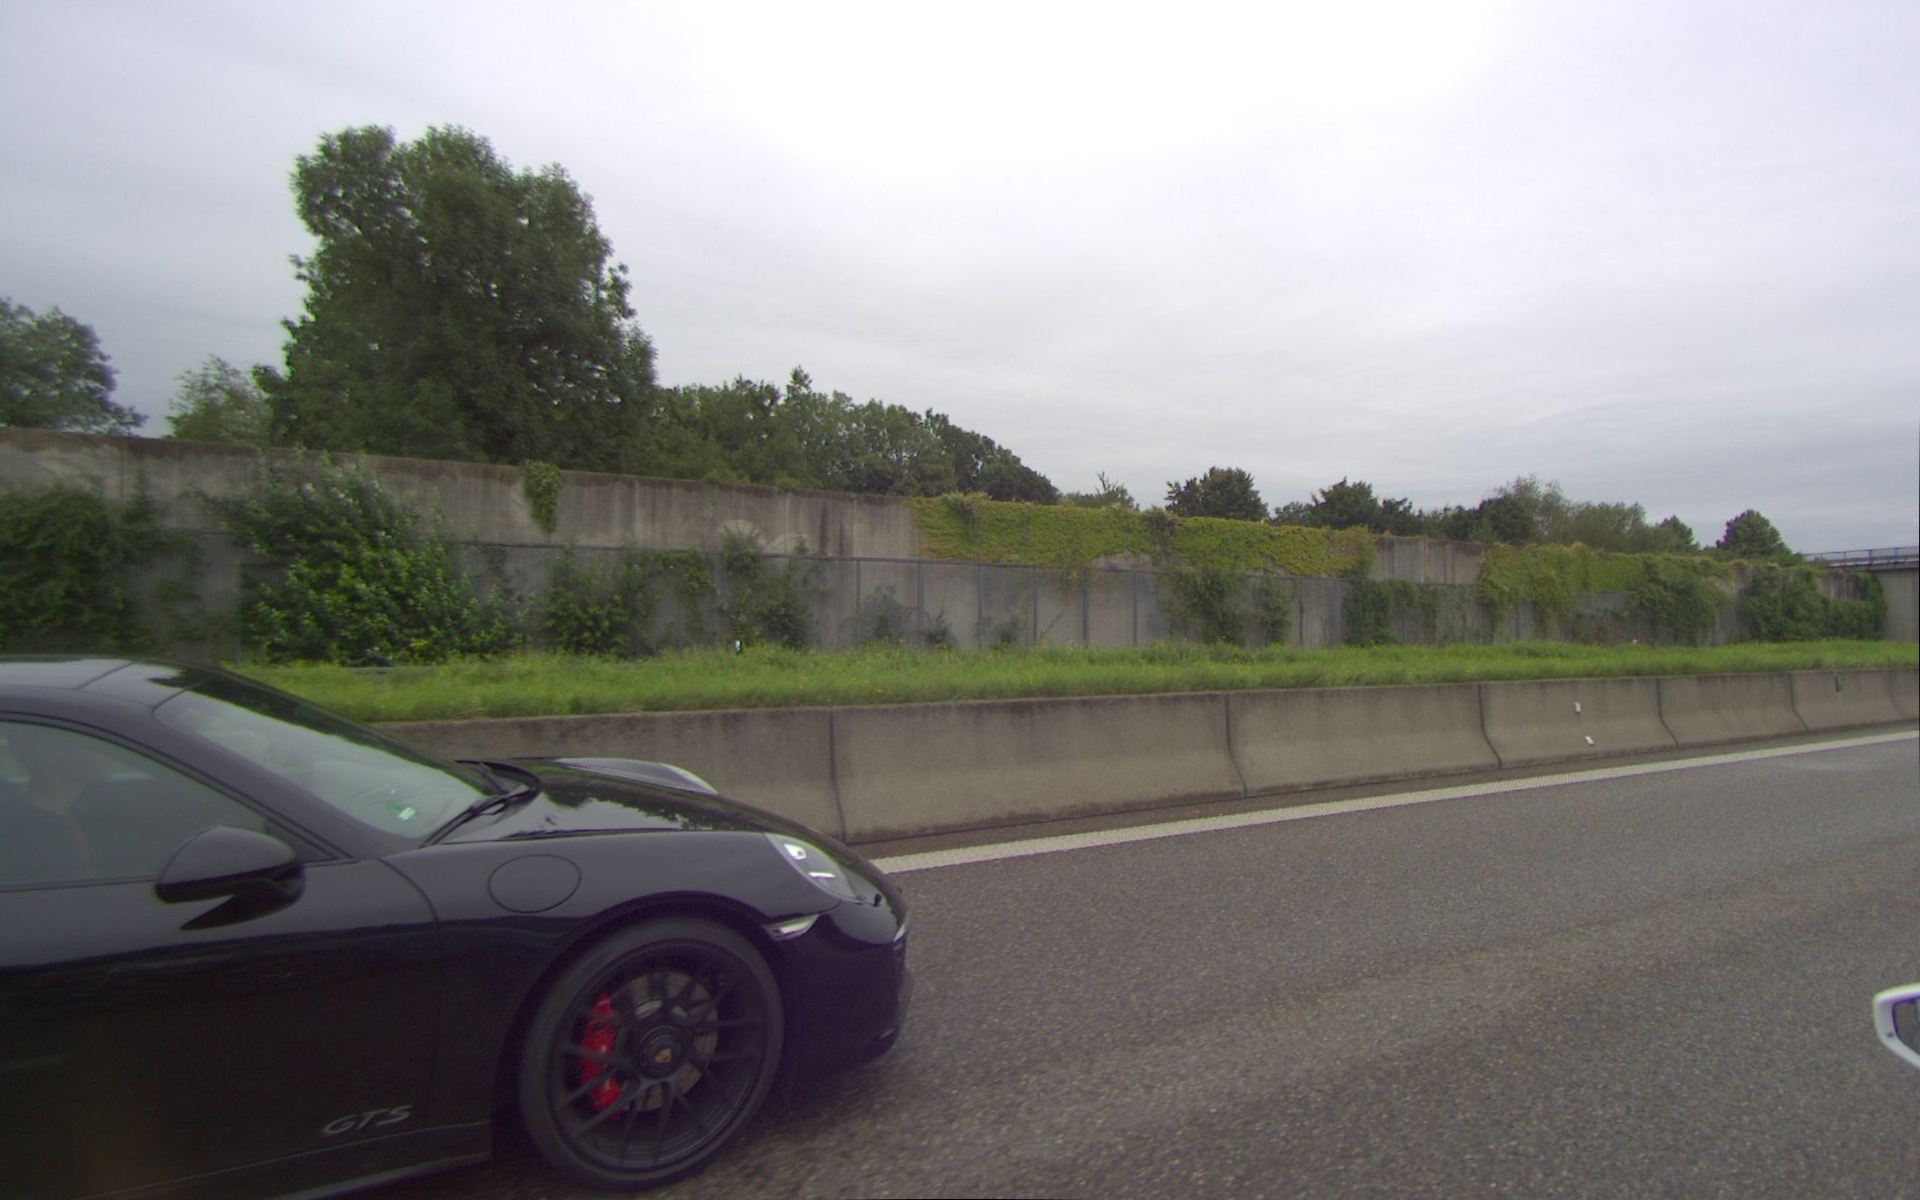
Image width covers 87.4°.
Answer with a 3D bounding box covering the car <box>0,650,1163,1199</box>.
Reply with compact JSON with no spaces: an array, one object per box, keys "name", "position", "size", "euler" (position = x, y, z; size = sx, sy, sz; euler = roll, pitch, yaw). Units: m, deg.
[{"name":"car","position":[-1.835,0.828,2.762],"size":[4.869,1.289,1.643],"euler":[2,0,-31]}]
